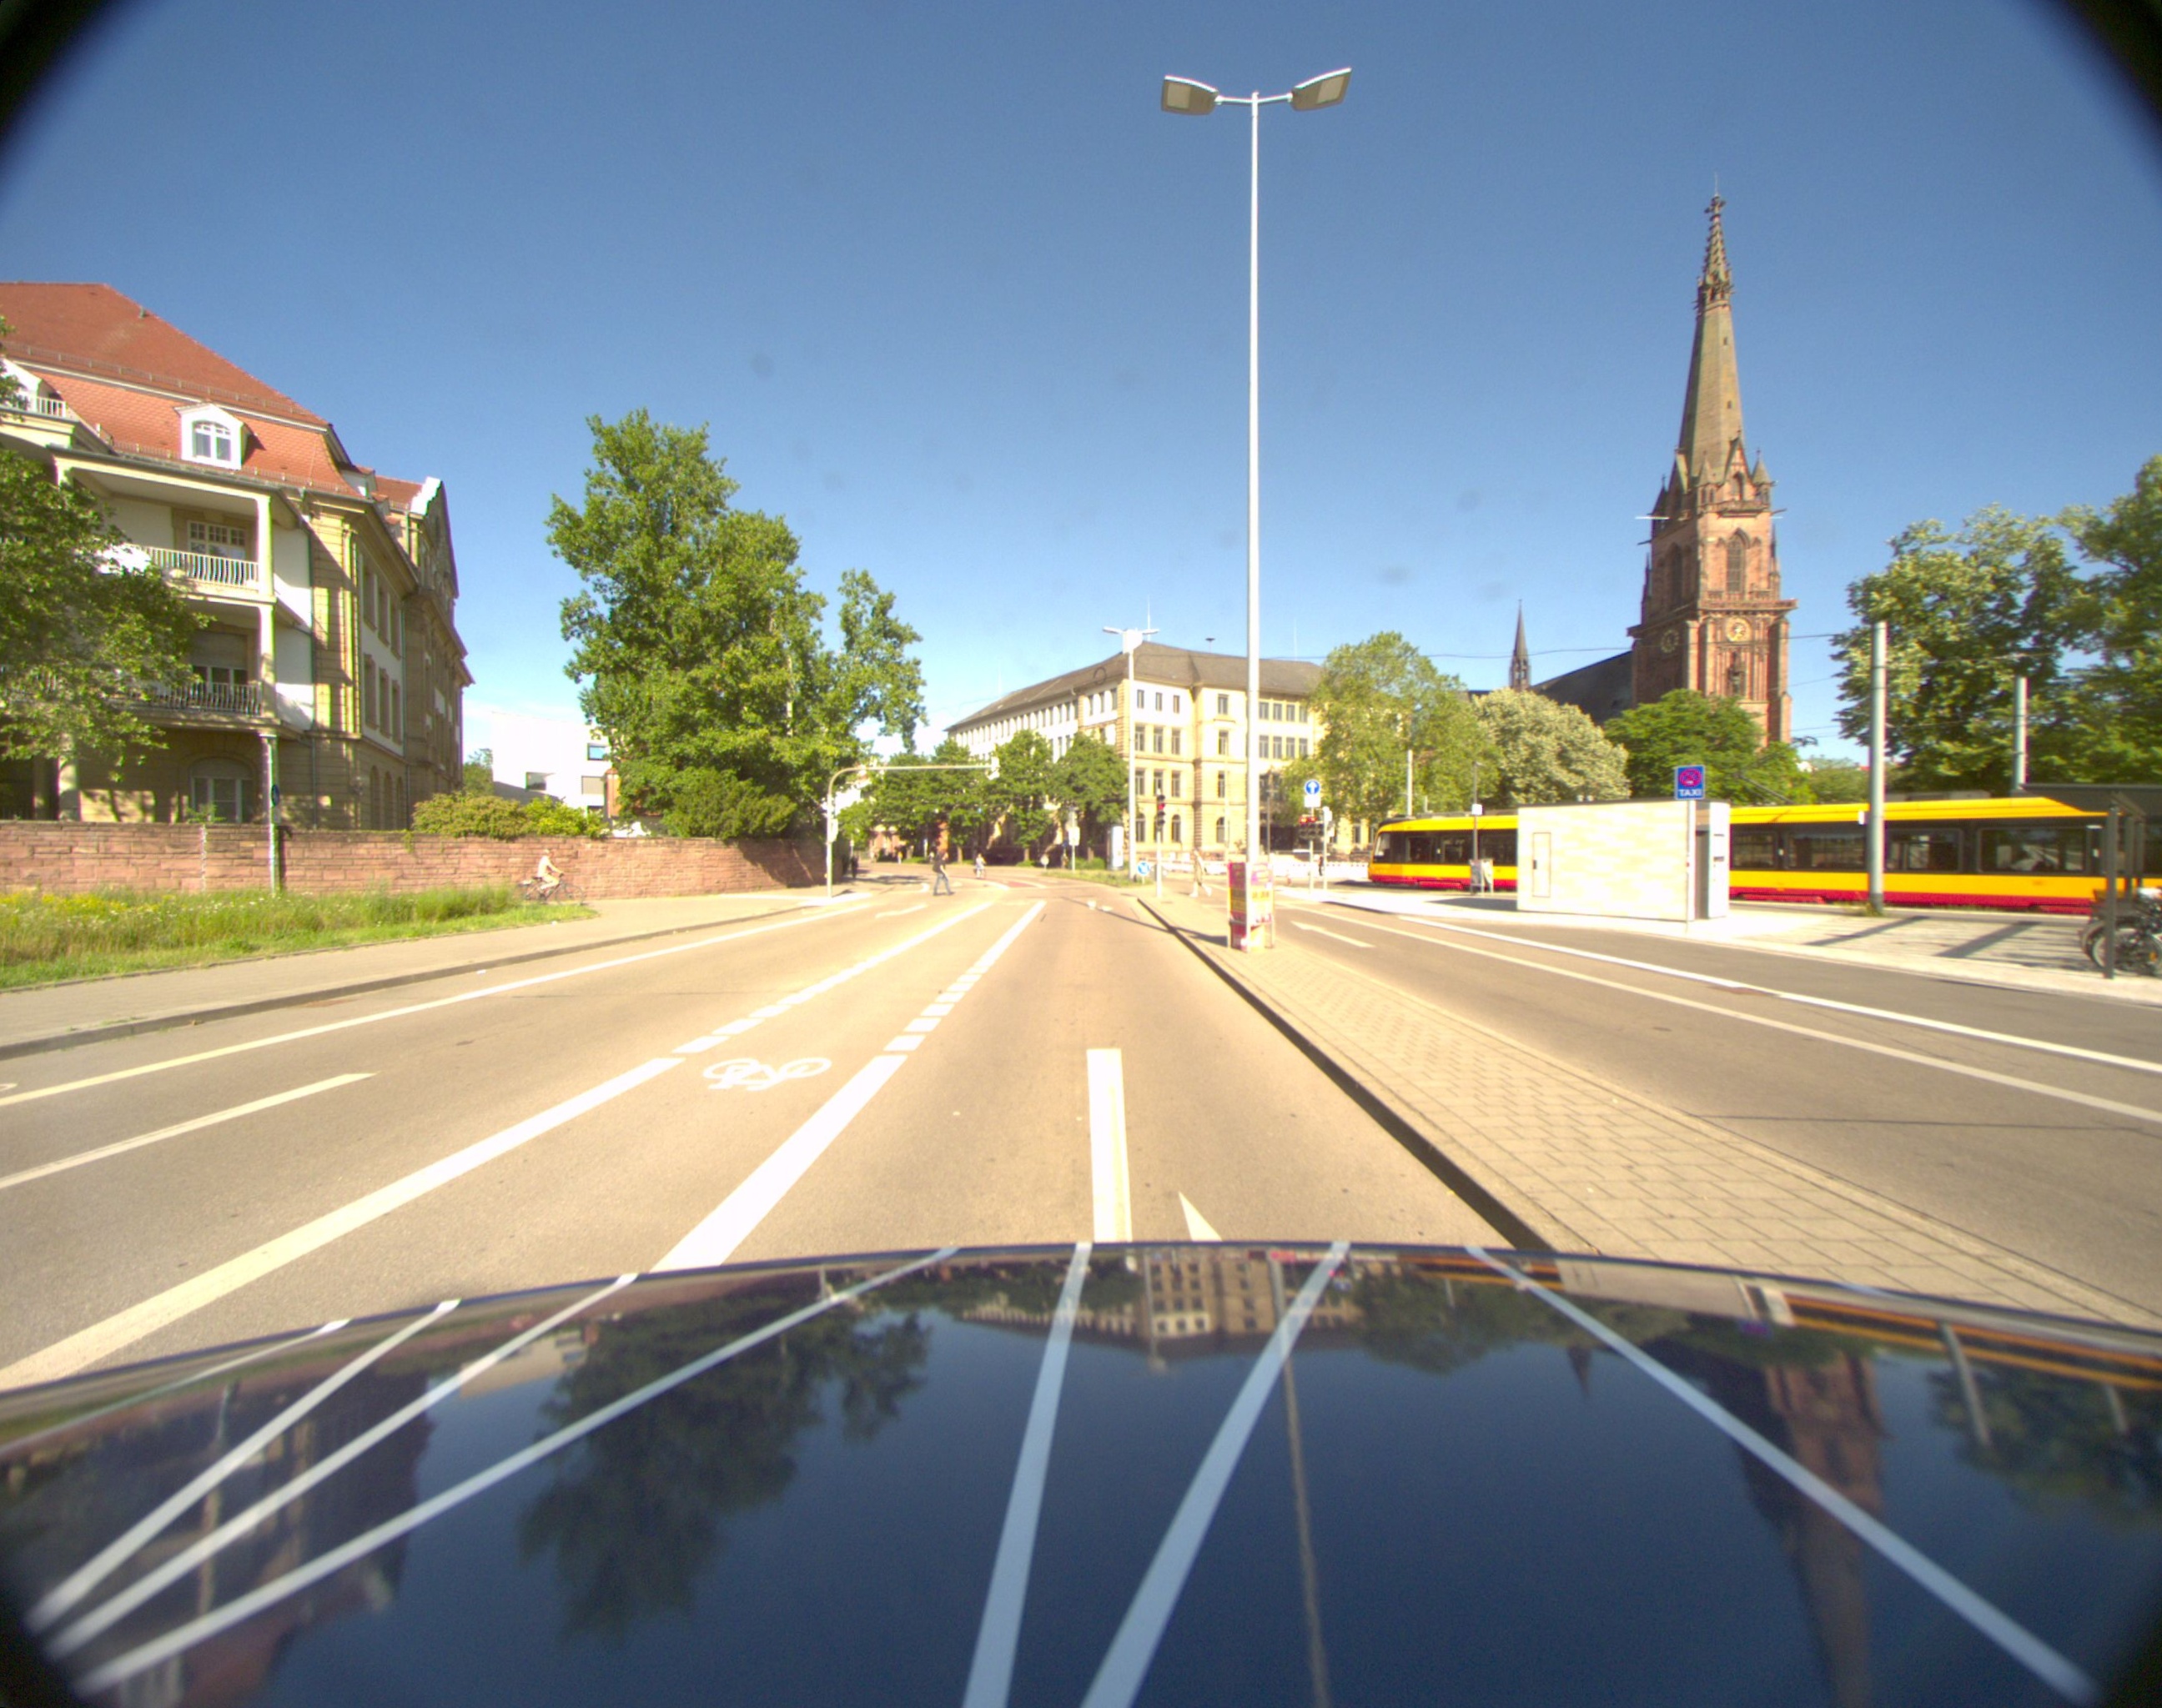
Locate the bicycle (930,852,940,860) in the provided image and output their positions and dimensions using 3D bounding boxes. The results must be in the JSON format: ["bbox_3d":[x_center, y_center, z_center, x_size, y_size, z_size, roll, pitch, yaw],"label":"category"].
[{"bbox_3d":[-18.005,0.247,93.732,0.602,1.000,1.983,-3,1,-28],"label":"bicycle"}]

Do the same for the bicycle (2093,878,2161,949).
[{"bbox_3d":[18.951,1.039,13.047,0.630,1.173,1.826,-1,1,-32],"label":"bicycle"}]

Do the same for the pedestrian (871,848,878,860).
[{"bbox_3d":[-31.611,0.030,116.304,0.758,1.801,0.978,-1,-3,-31],"label":"pedestrian"}]

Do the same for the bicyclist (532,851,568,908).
[{"bbox_3d":[-15.388,0.714,22.026,0.779,1.596,0.721,-2,1,-32],"label":"bicyclist"}]

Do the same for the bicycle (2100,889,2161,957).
[{"bbox_3d":[17.170,1.091,11.622,0.630,1.002,1.826,-1,1,-32],"label":"bicycle"}]

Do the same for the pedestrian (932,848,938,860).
[{"bbox_3d":[-17.983,-0.028,93.665,0.597,1.394,0.644,-3,2,-28],"label":"pedestrian"}]

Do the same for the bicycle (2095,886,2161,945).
[{"bbox_3d":[19.530,1.115,13.455,0.630,1.002,1.826,-1,1,-32],"label":"bicycle"}]

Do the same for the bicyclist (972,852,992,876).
[{"bbox_3d":[-6.566,0.638,50.461,0.871,1.551,1.277,-1,1,-29],"label":"bicyclist"}]

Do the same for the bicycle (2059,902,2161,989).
[{"bbox_3d":[13.942,1.199,9.592,0.702,1.002,1.863,-1,2,-32],"label":"bicycle"}]

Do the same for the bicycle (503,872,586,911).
[{"bbox_3d":[-15.477,1.071,21.982,1.888,1.064,0.723,1,-1,-31],"label":"bicycle"}]

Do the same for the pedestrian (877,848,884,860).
[{"bbox_3d":[-30.841,-0.004,116.793,0.759,1.801,0.978,-1,-3,-33],"label":"pedestrian"}]

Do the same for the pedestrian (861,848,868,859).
[{"bbox_3d":[-35.486,-0.073,124.512,0.759,1.802,0.978,-1,1,-38],"label":"pedestrian"}]

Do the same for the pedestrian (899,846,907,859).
[{"bbox_3d":[-24.928,-0.189,106.587,0.759,1.802,0.977,-1,1,-40],"label":"pedestrian"}]

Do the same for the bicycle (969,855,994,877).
[{"bbox_3d":[-6.628,0.774,50.536,0.763,1.360,2.731,-1,1,-28],"label":"bicycle"}]

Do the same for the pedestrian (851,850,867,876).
[{"bbox_3d":[-14.798,0.577,50.609,0.940,1.711,0.994,0,1,-12],"label":"pedestrian"}]

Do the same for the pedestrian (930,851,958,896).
[{"bbox_3d":[-5.733,0.808,31.751,0.960,1.839,0.731,1,1,3],"label":"pedestrian"}]

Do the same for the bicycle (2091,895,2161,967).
[{"bbox_3d":[16.183,1.153,10.998,0.630,1.002,1.826,-1,1,-32],"label":"bicycle"}]

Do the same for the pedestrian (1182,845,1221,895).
[{"bbox_3d":[4.577,0.596,28.868,1.231,1.845,0.826,-1,1,-20],"label":"pedestrian"}]

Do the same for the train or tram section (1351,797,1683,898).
[{"bbox_3d":[17.972,-0.270,33.012,2.806,3.580,12.504,-1,1,-35],"label":"train or tram section"}]

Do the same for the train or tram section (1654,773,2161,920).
[{"bbox_3d":[25.062,-0.214,22.803,2.806,3.580,12.294,-1,1,-35],"label":"train or tram section"}]

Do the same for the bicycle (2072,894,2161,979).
[{"bbox_3d":[14.676,1.122,10.060,0.630,1.059,1.826,-1,1,-32],"label":"bicycle"}]

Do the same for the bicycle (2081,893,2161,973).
[{"bbox_3d":[15.146,1.108,10.325,0.574,1.045,1.826,-1,1,-32],"label":"bicycle"}]

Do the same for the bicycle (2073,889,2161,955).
[{"bbox_3d":[17.817,1.128,12.458,0.630,1.002,1.826,-1,1,-32],"label":"bicycle"}]

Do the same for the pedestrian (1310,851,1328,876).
[{"bbox_3d":[17.175,0.667,54.823,0.932,1.731,0.808,1,1,42],"label":"pedestrian"}]
